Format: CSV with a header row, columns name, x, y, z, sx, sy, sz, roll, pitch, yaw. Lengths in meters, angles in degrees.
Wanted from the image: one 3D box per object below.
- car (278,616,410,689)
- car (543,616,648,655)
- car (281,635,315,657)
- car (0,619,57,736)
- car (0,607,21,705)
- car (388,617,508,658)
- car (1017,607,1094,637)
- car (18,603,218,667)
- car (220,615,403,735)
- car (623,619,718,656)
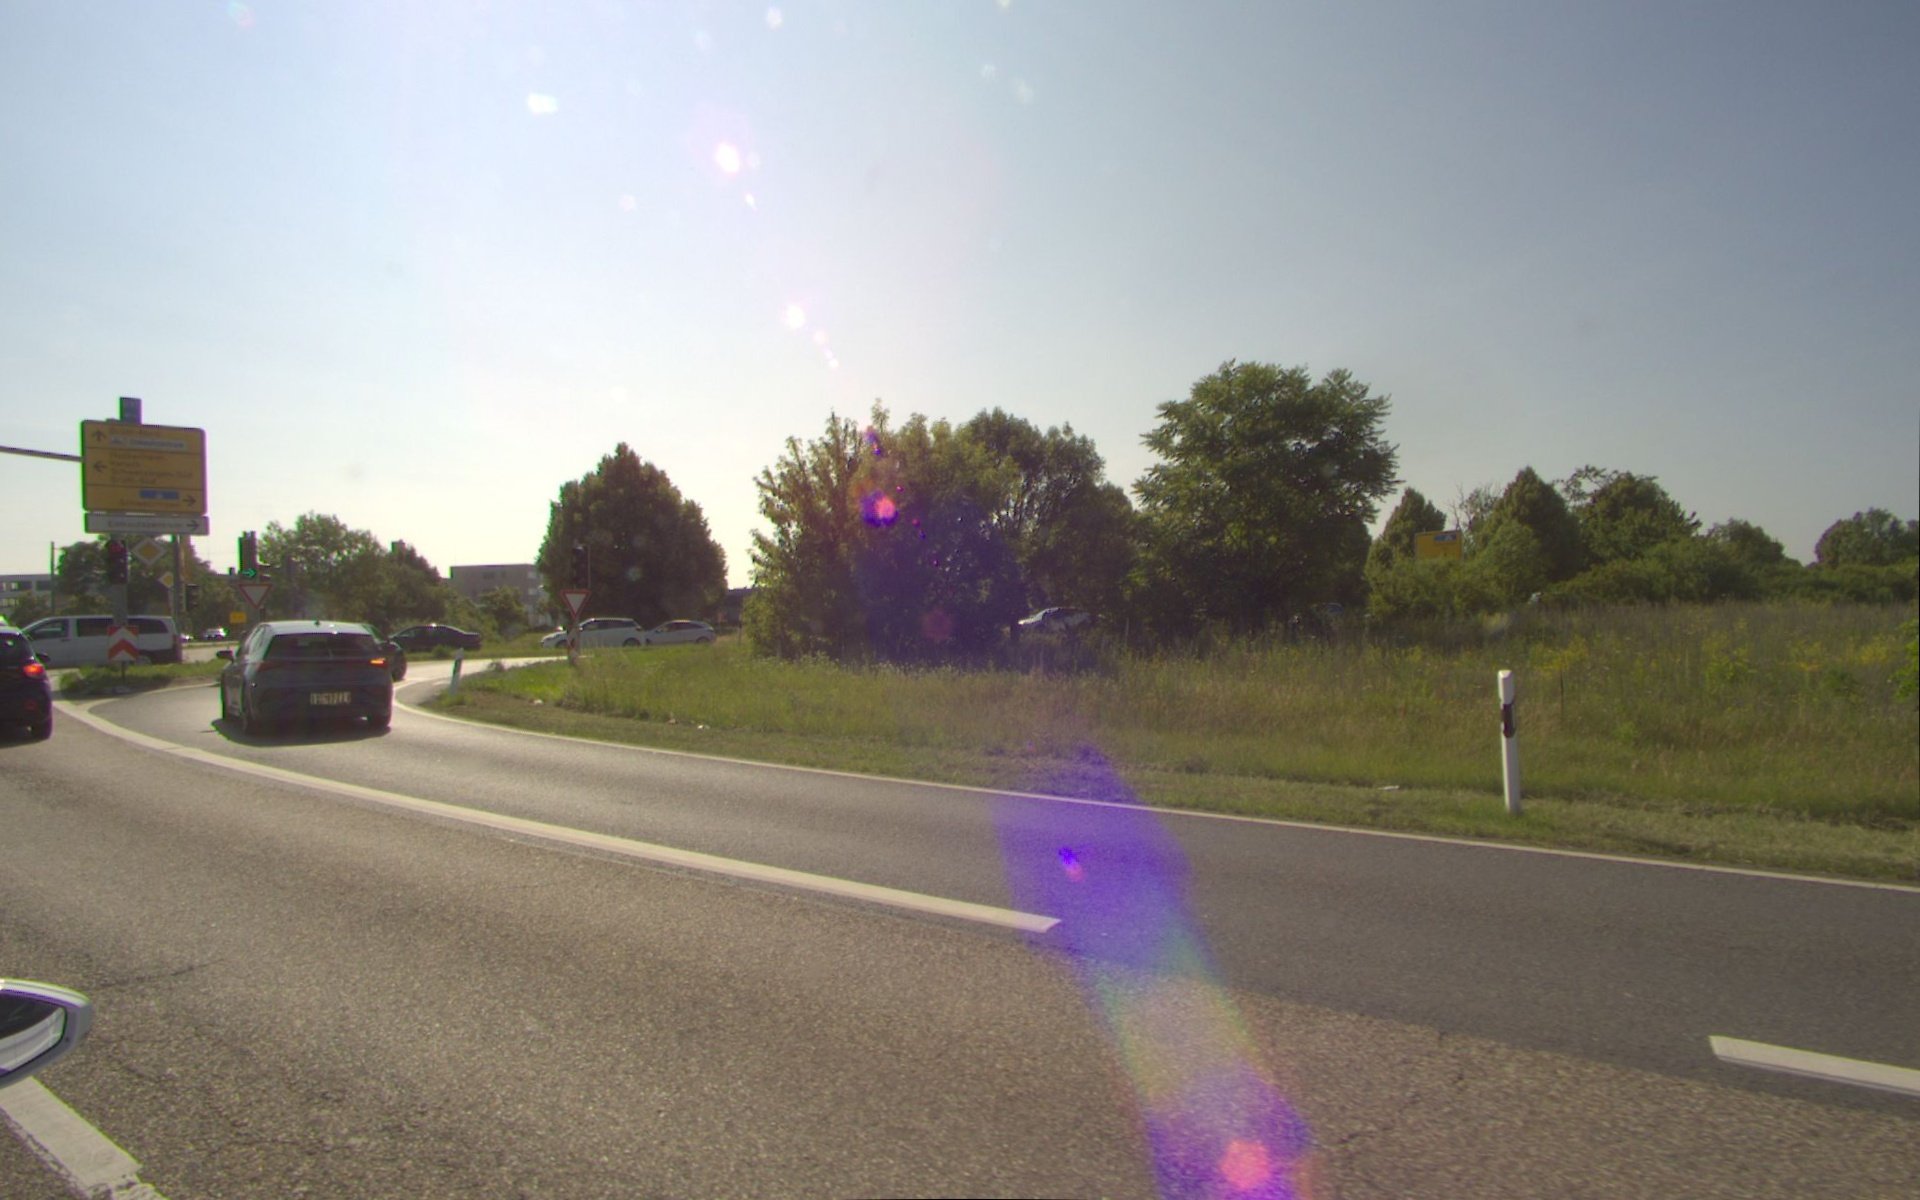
name,x,y,z,sx,sy,sz,roll,pitch,yaw
car,-13.542,1.085,22.259,1.618,1.404,3.991,0,0,-19
car,-14.682,1.419,40.313,3.850,1.484,1.717,0,-1,-25
car,-52.066,3.614,78.787,1.855,1.694,3.754,1,-2,-28
car,-13.405,0.994,13.464,3.260,1.467,1.624,-1,-2,43
car,-18.321,1.000,18.200,3.710,1.698,1.624,-2,-2,43
car,-21.022,1.497,41.216,4.270,1.539,1.799,-1,0,-28
car,5.166,1.171,54.223,3.821,1.539,1.800,-1,0,-27
car,-27.683,1.132,33.047,1.980,1.943,4.902,0,-1,45
car,-9.904,1.018,15.164,1.760,1.537,4.062,1,-1,-41
car,-13.079,1.677,45.229,3.822,1.539,1.799,-1,0,-28
